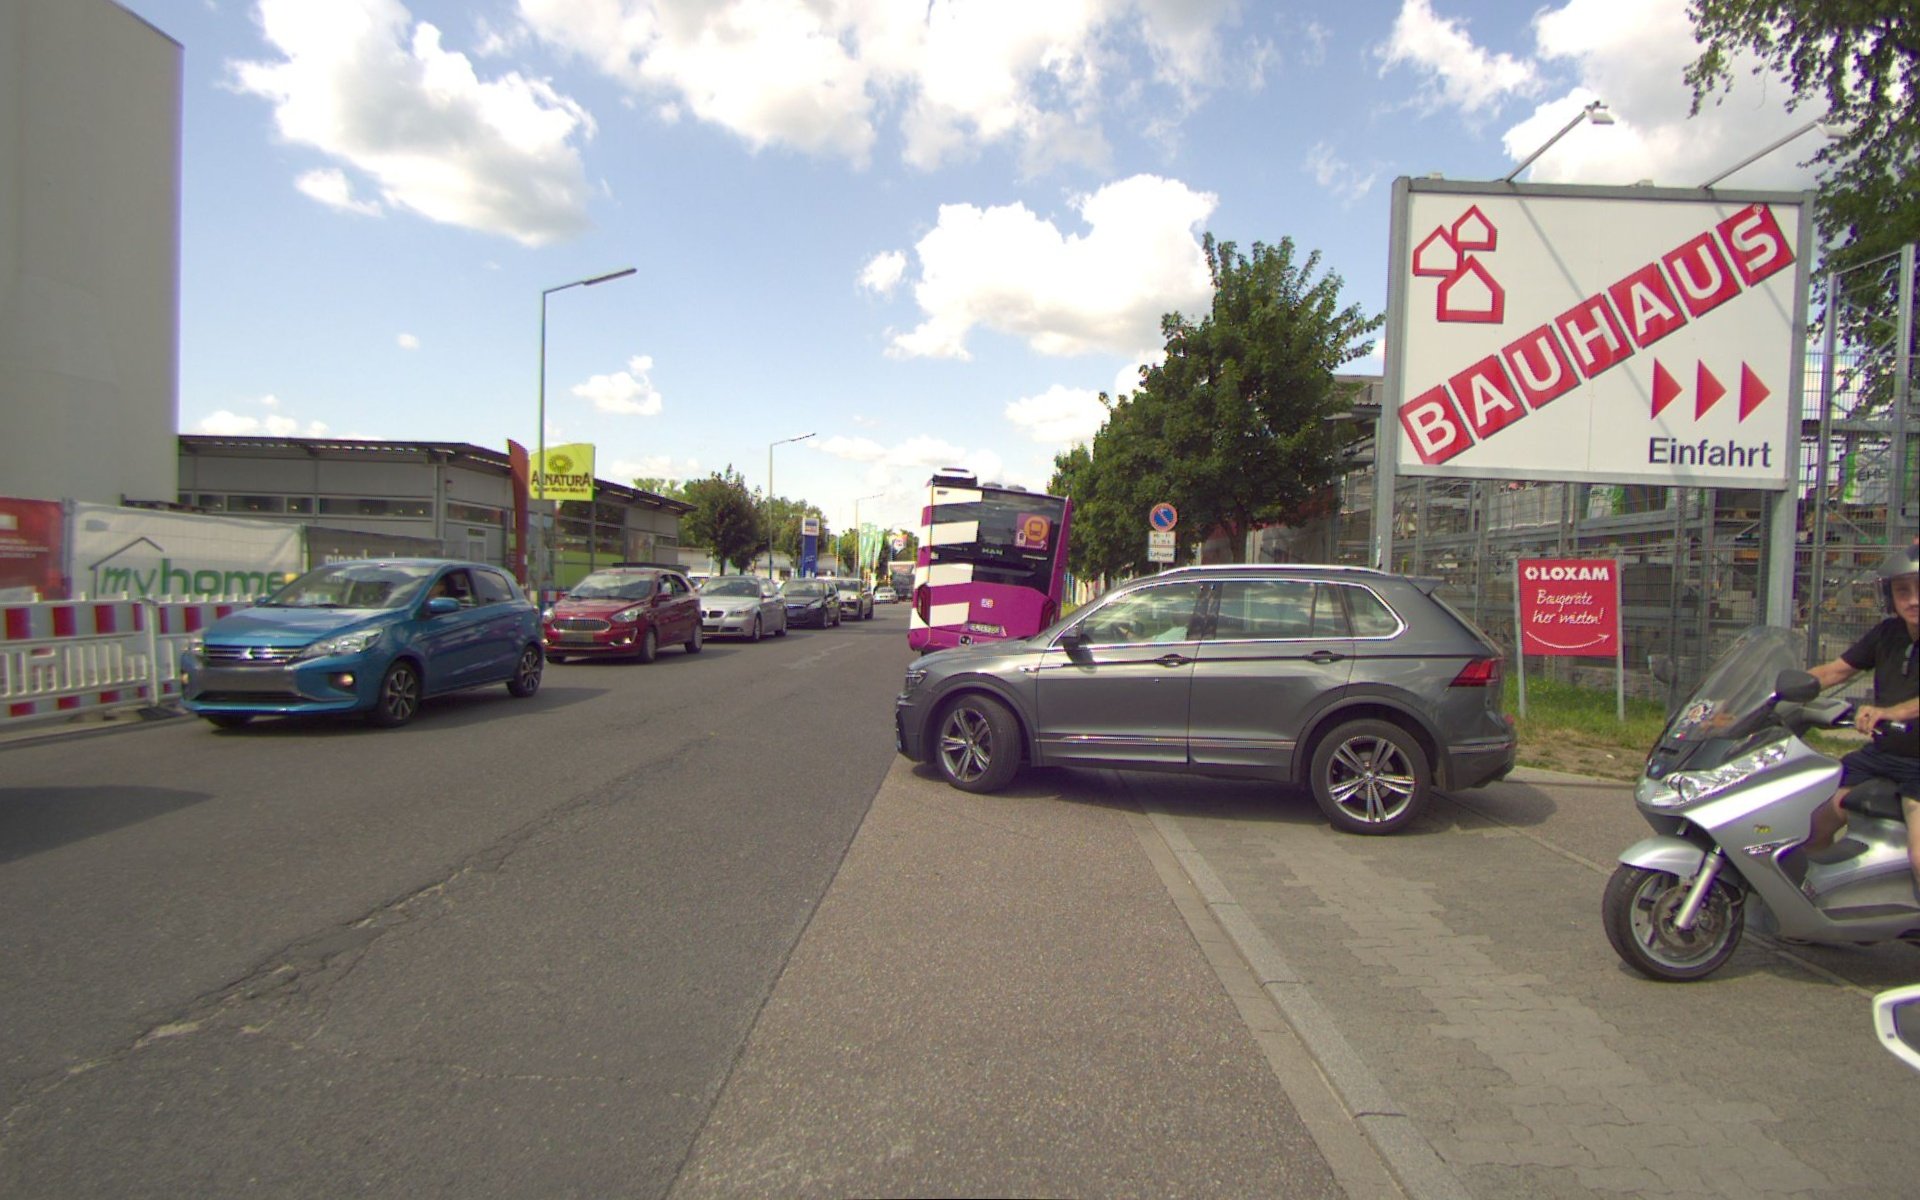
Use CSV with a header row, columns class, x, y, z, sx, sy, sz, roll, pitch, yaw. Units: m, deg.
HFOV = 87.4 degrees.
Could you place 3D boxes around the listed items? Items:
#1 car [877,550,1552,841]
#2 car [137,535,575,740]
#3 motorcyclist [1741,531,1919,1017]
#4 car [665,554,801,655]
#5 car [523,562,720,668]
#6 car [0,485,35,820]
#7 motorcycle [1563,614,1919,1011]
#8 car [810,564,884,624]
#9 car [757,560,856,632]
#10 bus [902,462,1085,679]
class,x,y,z,sx,sy,sz,roll,pitch,yaw
car,1.713,0.558,7.398,4.300,1.688,1.769,0,0,20
car,-5.505,0.271,9.899,1.663,1.534,4.196,2,1,2
motorcyclist,3.601,0.598,3.772,0.672,1.650,0.789,2,1,4
car,-5.072,0.083,23.102,1.886,2.040,4.460,2,0,3
car,-5.566,0.204,17.098,1.756,1.529,4.194,2,1,2
car,-5.789,0.256,2.909,1.832,1.722,4.838,1,0,-2
motorcycle,3.596,0.762,3.772,2.168,1.323,0.672,2,1,4
car,-4.202,-0.236,38.105,1.960,2.040,4.789,2,1,3
car,-4.579,-0.135,30.765,1.960,1.939,4.789,2,1,3
bus,0.749,-0.533,21.967,2.835,3.409,11.571,2,1,2
